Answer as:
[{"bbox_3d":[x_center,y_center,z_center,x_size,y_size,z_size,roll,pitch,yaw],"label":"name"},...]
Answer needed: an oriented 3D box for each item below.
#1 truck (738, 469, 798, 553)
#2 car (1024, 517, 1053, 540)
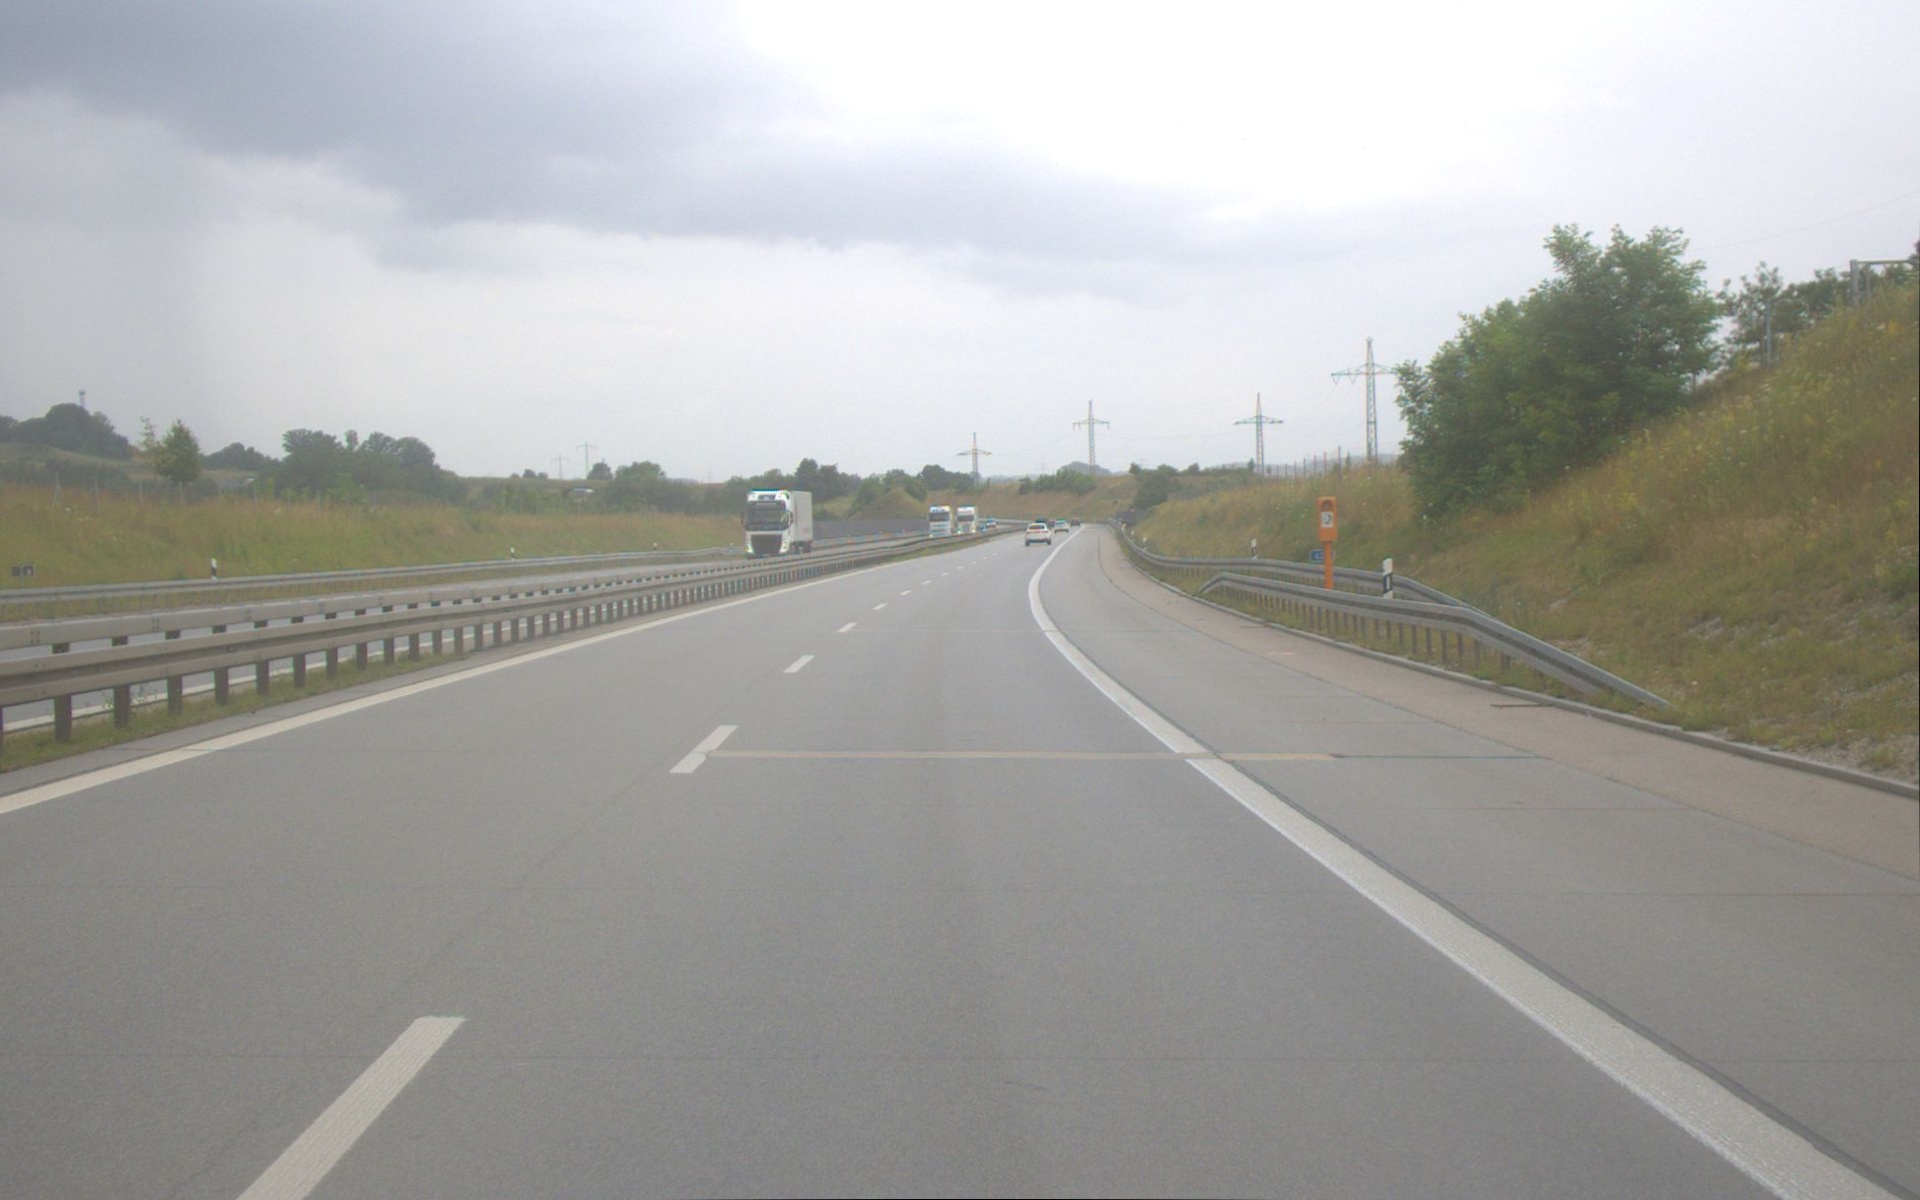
[{"bbox_3d":[-10.865,-5.068,195.500,2.795,4.631,6.920,-1,1,1],"label":"truck"},{"bbox_3d":[5.815,-5.290,253.622,1.957,1.645,3.999,-1,0,4],"label":"car"}]
